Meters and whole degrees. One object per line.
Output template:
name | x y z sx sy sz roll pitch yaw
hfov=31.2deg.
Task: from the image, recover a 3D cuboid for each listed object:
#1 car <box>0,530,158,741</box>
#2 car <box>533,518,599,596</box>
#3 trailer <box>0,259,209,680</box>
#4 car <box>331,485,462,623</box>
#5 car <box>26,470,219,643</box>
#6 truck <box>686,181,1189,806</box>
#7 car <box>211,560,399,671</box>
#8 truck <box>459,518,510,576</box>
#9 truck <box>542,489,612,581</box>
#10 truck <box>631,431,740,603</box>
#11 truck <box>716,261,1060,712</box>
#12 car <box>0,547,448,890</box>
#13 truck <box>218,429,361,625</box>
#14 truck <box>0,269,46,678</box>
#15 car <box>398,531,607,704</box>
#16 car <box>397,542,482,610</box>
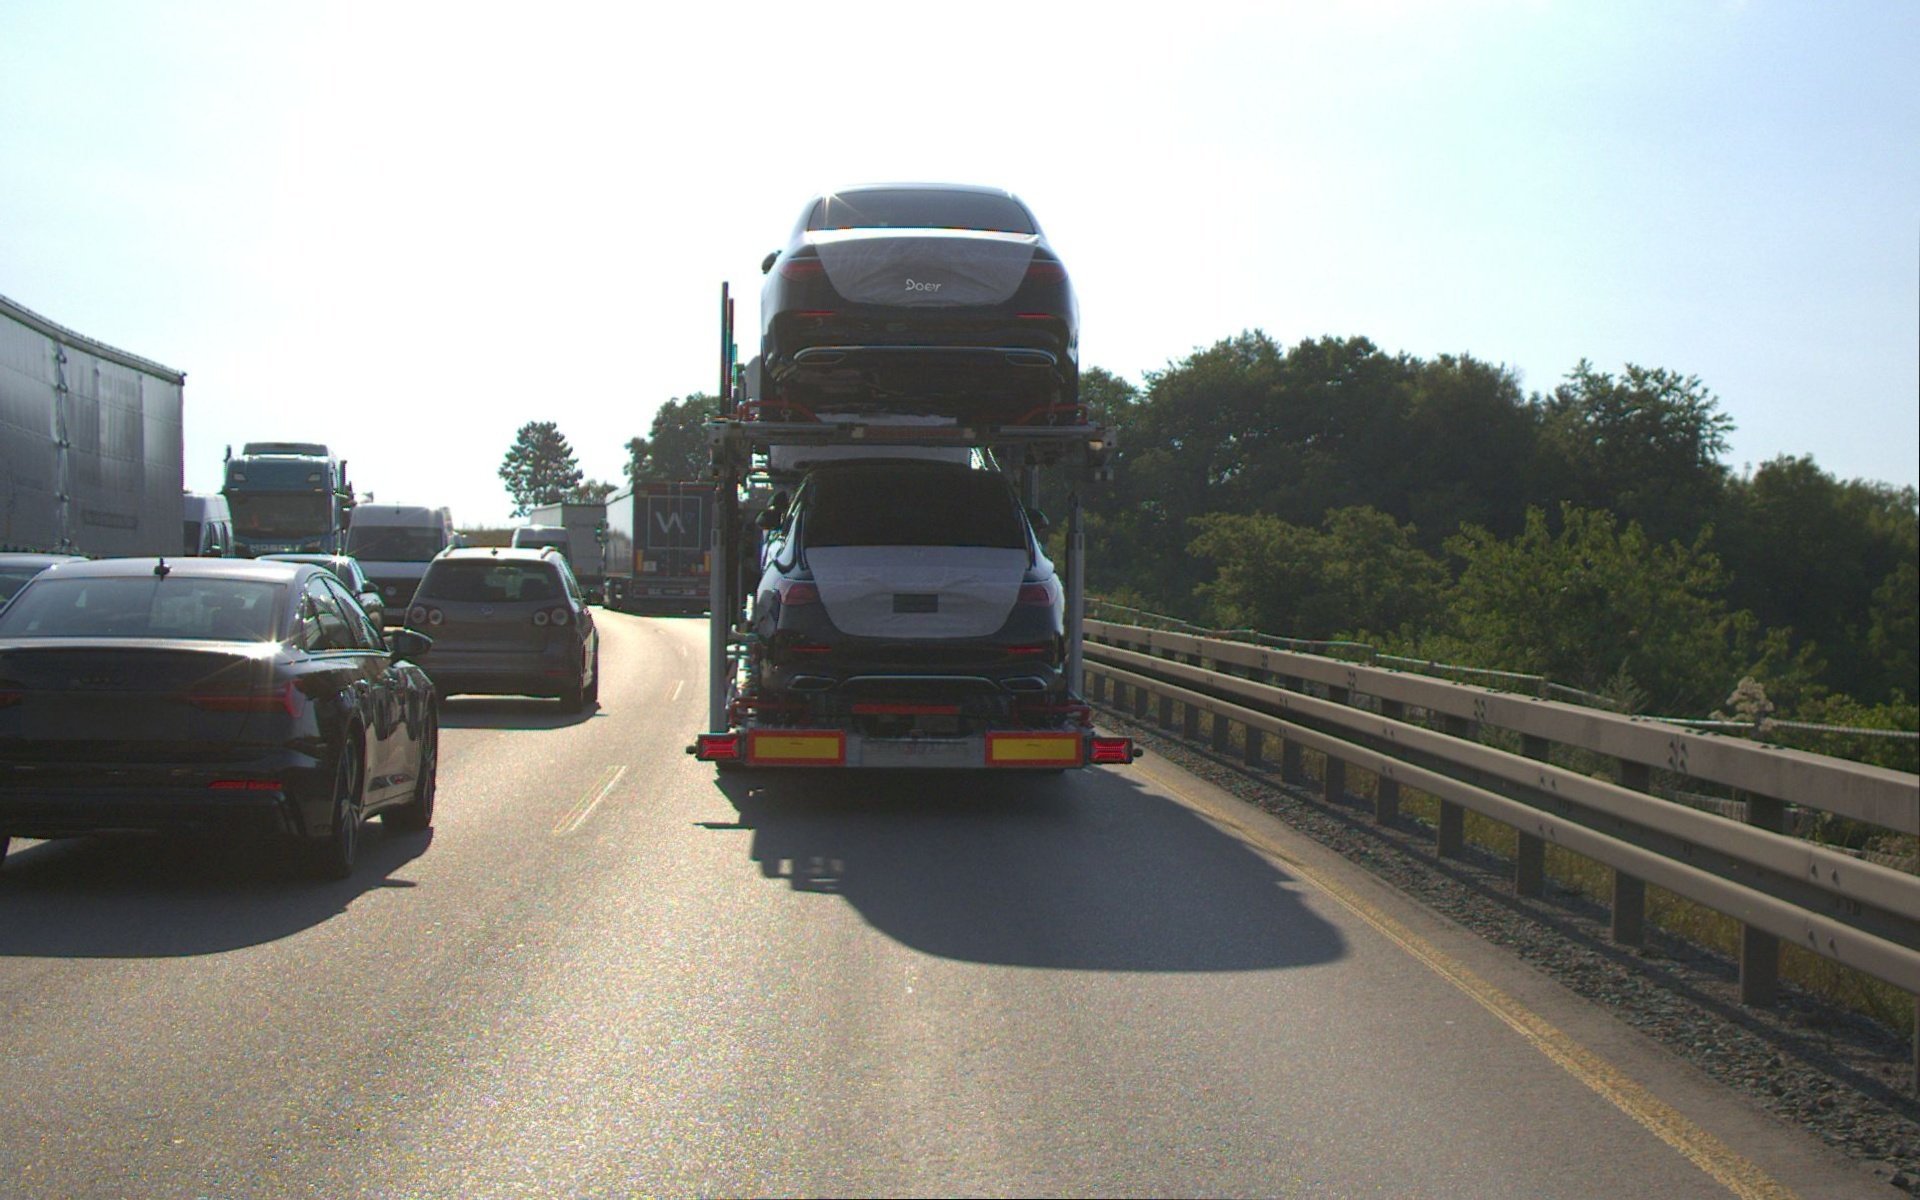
car | -7.479 0.226 26.584 1.759 1.503 4.255 0 1 -3
car | -12.862 -1.409 112.379 1.920 2.484 5.409 0 1 -4
trailer | -11.095 -1.365 40.661 2.306 4.116 14.603 0 1 -4
car | -10.767 -0.873 66.078 2.056 2.491 6.777 0 1 -6
car | -13.014 -0.679 53.751 2.157 2.549 5.590 0 1 -6
truck | -0.410 -0.650 24.619 2.799 3.485 10.607 0 1 -3
car | -8.616 0.169 45.574 1.759 1.373 4.768 0 1 -2
truck | -26.230 -2.908 189.807 2.590 3.159 6.678 0 1 -6
truck | -15.666 -2.632 141.142 2.530 3.635 8.907 0 1 -4
truck | -8.772 -2.597 110.038 3.285 5.219 9.937 0 1 -4
truck | -0.958 -1.007 34.010 2.837 3.779 9.988 0 1 -4
car | -3.716 0.462 16.903 1.934 1.394 4.962 1 1 -3
truck | -14.502 -1.555 74.718 2.503 4.052 5.885 0 1 -6
truck | -10.762 -1.252 32.998 2.503 4.052 5.665 0 1 -1
car | -4.436 0.143 33.772 1.691 1.590 4.000 0 1 -3
car | -13.302 -0.616 88.032 1.870 1.688 4.597 0 1 -5
